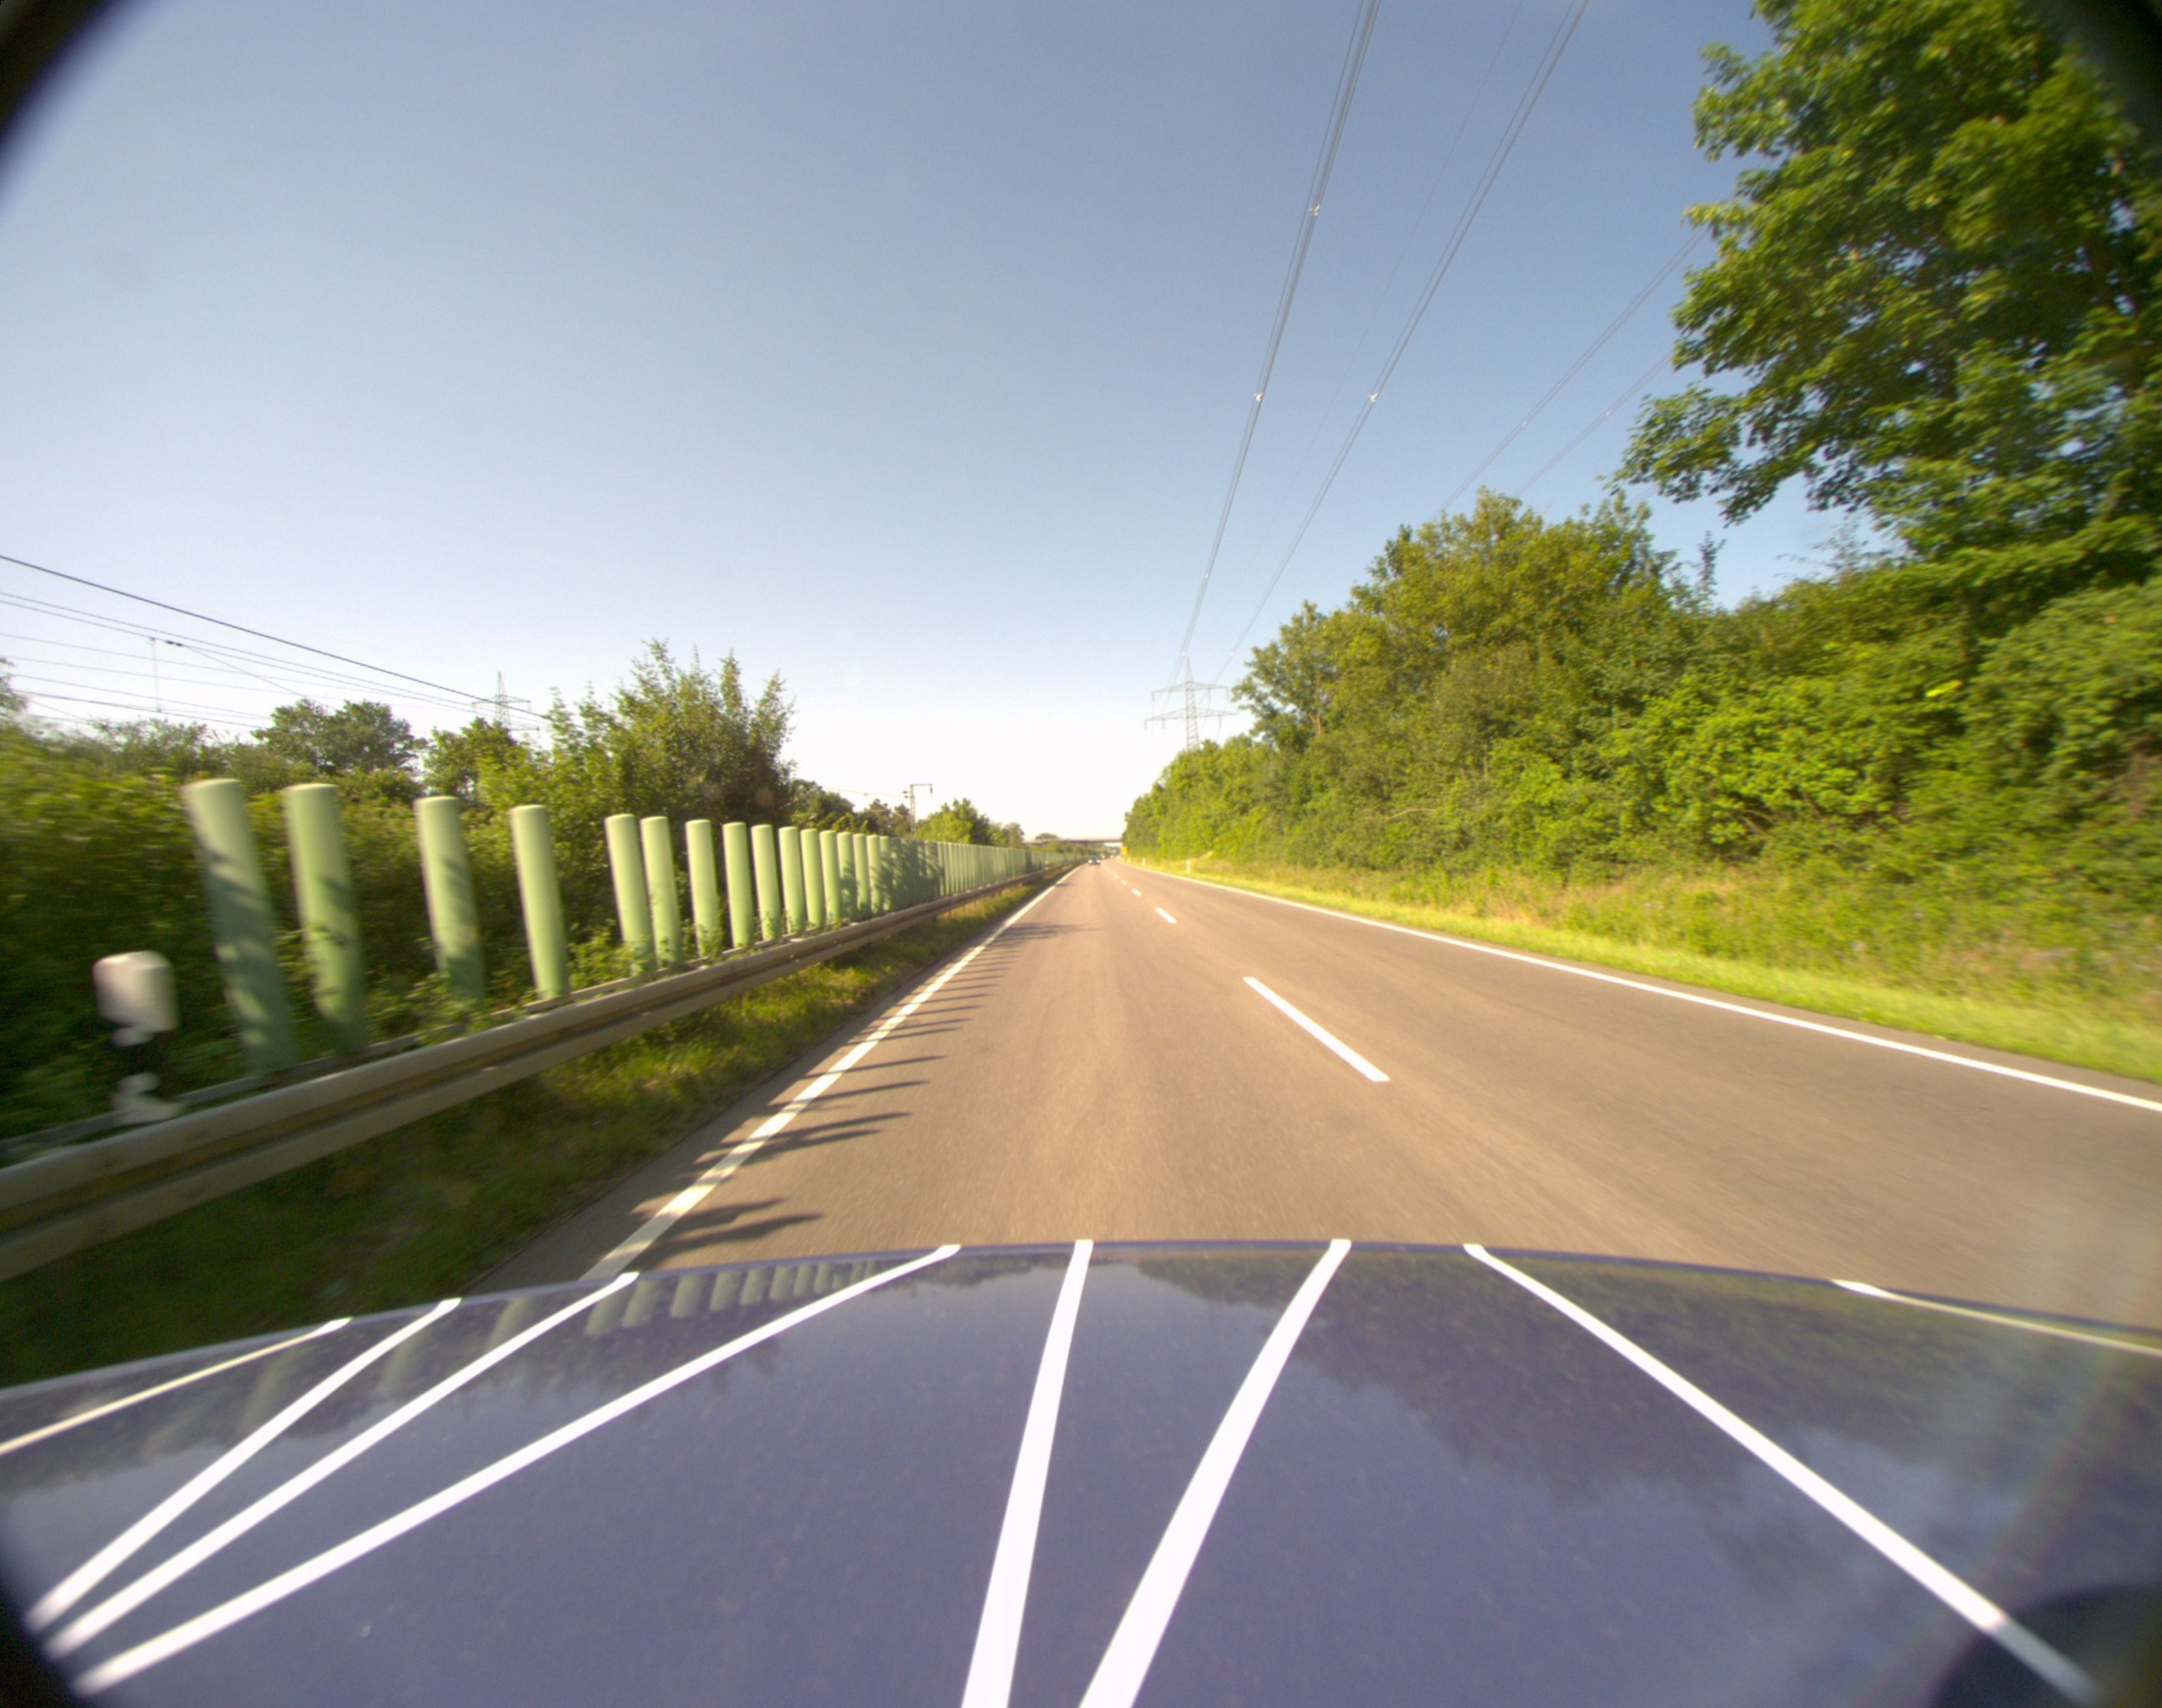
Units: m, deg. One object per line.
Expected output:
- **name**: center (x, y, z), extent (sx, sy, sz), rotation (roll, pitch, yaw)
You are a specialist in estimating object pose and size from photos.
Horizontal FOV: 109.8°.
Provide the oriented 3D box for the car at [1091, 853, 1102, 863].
- **car**: center (2.581, 0.706, 126.174), extent (1.787, 1.550, 4.000), rotation (-1, 0, 2)
